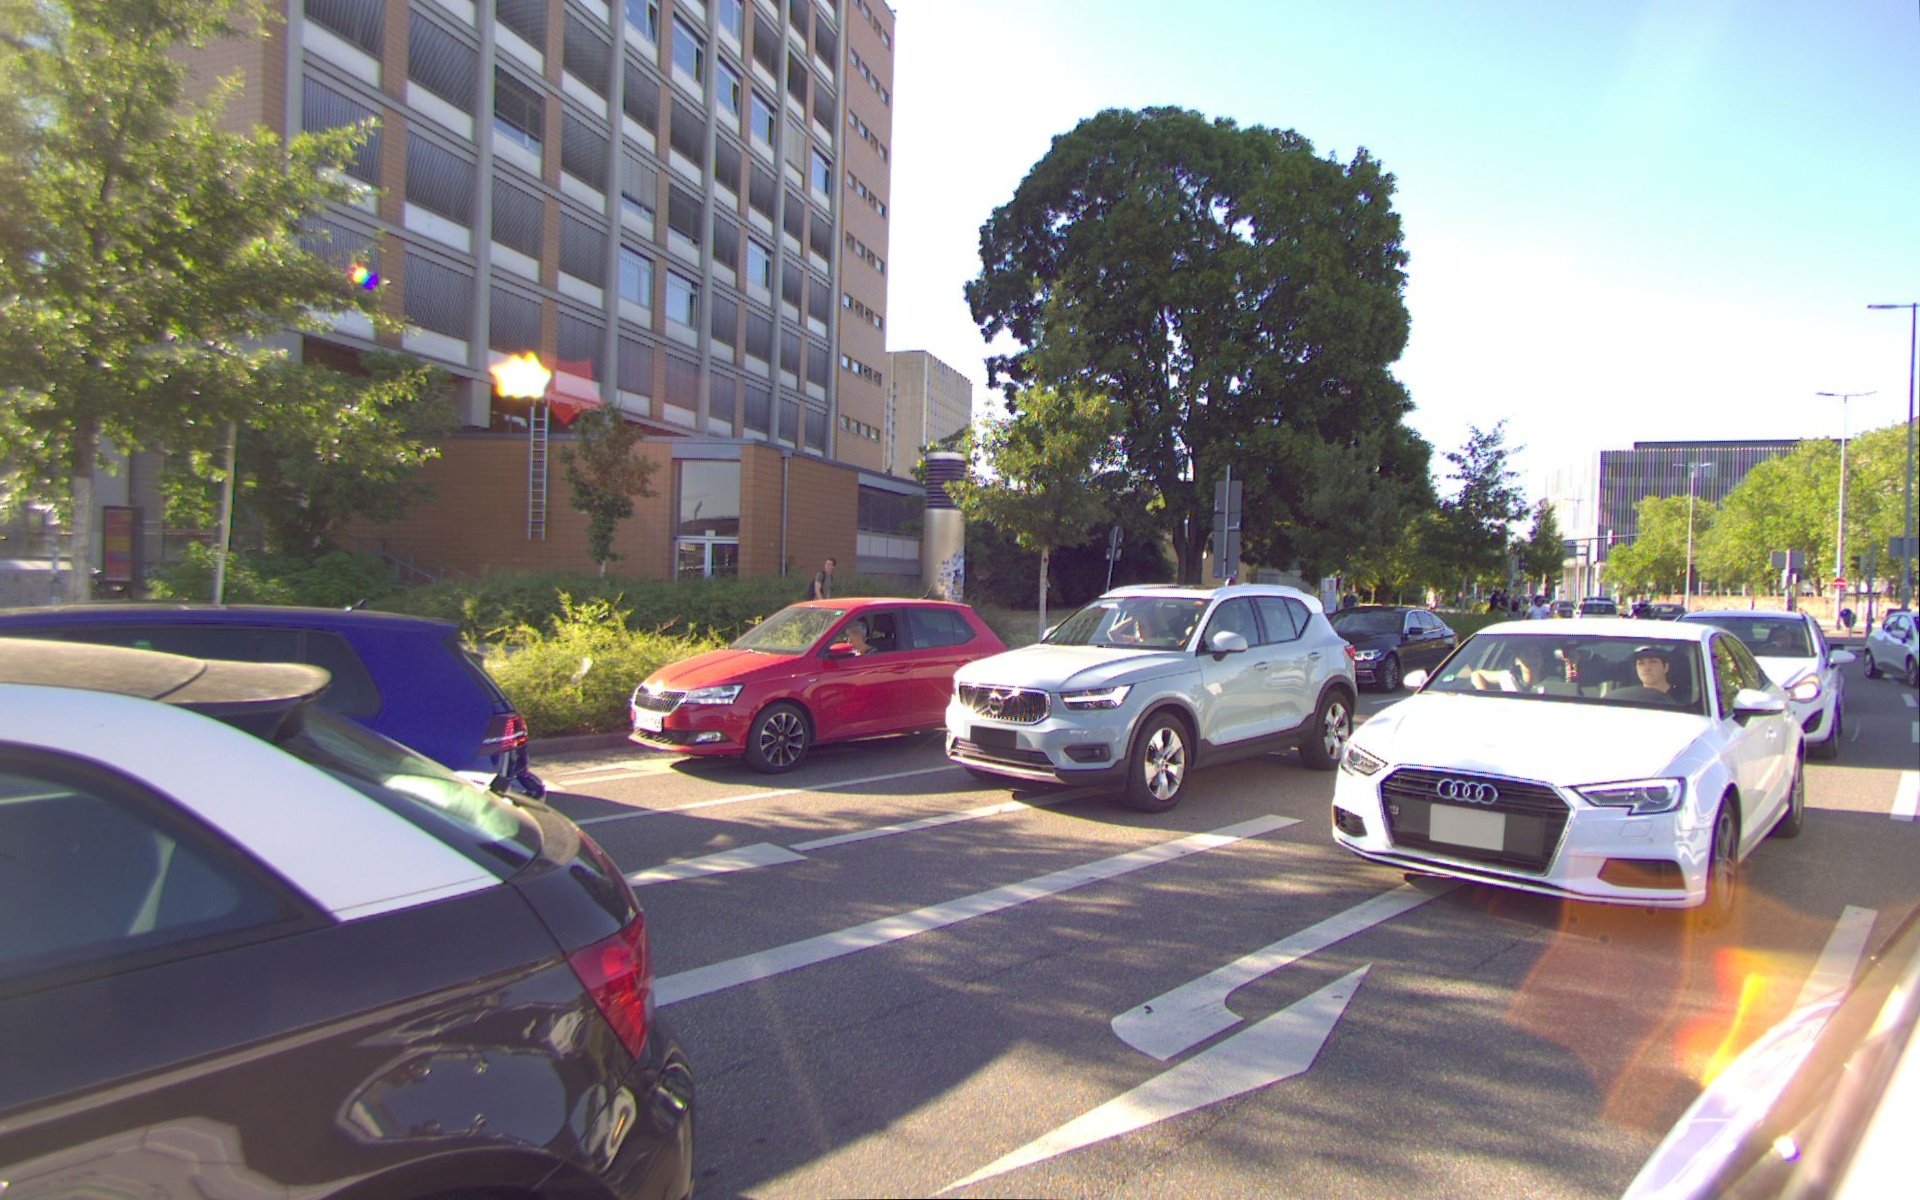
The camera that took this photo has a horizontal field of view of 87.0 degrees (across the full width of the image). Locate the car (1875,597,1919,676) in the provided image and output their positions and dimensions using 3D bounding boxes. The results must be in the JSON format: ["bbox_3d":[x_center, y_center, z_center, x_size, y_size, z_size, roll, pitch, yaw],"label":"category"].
[{"bbox_3d":[19.386,0.690,19.484,1.741,1.478,4.145,0,0,30],"label":"car"}]

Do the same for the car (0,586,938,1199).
[{"bbox_3d":[-2.049,0.701,1.270,3.930,1.422,1.626,-1,0,-41],"label":"car"}]

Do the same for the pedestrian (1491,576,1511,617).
[{"bbox_3d":[21.440,-0.146,40.086,0.593,1.615,0.586,0,0,41],"label":"pedestrian"}]

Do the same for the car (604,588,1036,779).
[{"bbox_3d":[-1.197,0.631,9.841,3.974,1.478,1.625,-1,0,-43],"label":"car"}]

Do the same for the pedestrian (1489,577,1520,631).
[{"bbox_3d":[21.084,0.154,39.178,0.891,2.039,0.870,0,0,39],"label":"pedestrian"}]

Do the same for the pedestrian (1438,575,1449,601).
[{"bbox_3d":[29.799,-0.742,62.364,0.543,1.627,0.598,0,0,30],"label":"pedestrian"}]

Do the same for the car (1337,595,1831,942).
[{"bbox_3d":[3.940,0.691,6.116,3.769,1.422,1.625,-1,0,-43],"label":"car"}]

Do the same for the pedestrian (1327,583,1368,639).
[{"bbox_3d":[12.438,0.334,32.485,1.005,1.742,0.873,0,0,39],"label":"pedestrian"}]

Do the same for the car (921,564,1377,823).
[{"bbox_3d":[1.769,0.570,8.456,4.153,1.641,1.625,-1,0,-43],"label":"car"}]

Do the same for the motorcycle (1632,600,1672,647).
[{"bbox_3d":[20.577,0.684,30.074,0.715,1.321,2.201,0,0,41],"label":"motorcycle"}]

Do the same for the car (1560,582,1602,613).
[{"bbox_3d":[36.696,-0.190,59.850,1.730,1.727,3.962,2,1,27],"label":"car"}]

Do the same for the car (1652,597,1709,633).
[{"bbox_3d":[34.692,0.671,48.800,1.731,1.564,3.960,2,1,29],"label":"car"}]

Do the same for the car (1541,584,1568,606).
[{"bbox_3d":[49.431,-0.409,84.176,1.731,1.727,3.959,2,1,29],"label":"car"}]

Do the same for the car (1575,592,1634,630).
[{"bbox_3d":[28.438,0.448,44.615,1.738,1.544,3.943,2,2,39],"label":"car"}]

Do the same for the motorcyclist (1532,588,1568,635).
[{"bbox_3d":[16.887,0.327,28.956,0.716,1.321,0.723,0,0,45],"label":"motorcyclist"}]

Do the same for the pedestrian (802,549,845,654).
[{"bbox_3d":[-2.517,0.023,18.602,0.681,1.910,0.465,0,0,-24],"label":"pedestrian"}]

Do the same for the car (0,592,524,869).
[{"bbox_3d":[-5.227,0.672,6.163,4.433,1.422,1.726,-1,0,-41],"label":"car"}]

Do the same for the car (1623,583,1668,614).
[{"bbox_3d":[41.614,-0.117,61.510,1.730,1.727,3.962,2,1,27],"label":"car"}]

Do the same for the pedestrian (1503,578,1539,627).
[{"bbox_3d":[23.810,0.103,42.962,1.137,2.039,1.268,0,0,39],"label":"pedestrian"}]

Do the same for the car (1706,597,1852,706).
[{"bbox_3d":[13.107,0.712,16.116,1.622,1.478,3.981,0,0,42],"label":"car"}]

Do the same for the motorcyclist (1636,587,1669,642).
[{"bbox_3d":[20.450,0.412,29.880,0.708,1.610,0.680,0,0,42],"label":"motorcyclist"}]

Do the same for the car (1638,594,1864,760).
[{"bbox_3d":[8.868,0.690,11.221,1.623,1.478,3.979,0,1,43],"label":"car"}]

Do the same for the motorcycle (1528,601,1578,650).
[{"bbox_3d":[17.086,0.705,29.146,0.716,1.321,2.199,0,0,44],"label":"motorcycle"}]

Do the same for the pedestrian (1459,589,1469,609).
[{"bbox_3d":[53.163,-0.131,106.803,0.828,2.039,1.061,0,0,19],"label":"pedestrian"}]

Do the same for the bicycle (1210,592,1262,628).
[{"bbox_3d":[8.153,0.285,29.828,0.657,0.975,2.005,2,2,41],"label":"bicycle"}]

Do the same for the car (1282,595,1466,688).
[{"bbox_3d":[7.619,0.657,18.432,1.750,1.478,4.123,0,1,43],"label":"car"}]

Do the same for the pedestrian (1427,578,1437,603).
[{"bbox_3d":[29.254,-0.614,62.740,0.543,1.549,0.598,0,0,30],"label":"pedestrian"}]

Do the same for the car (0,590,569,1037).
[{"bbox_3d":[-3.719,0.686,3.760,3.930,1.422,1.626,-1,0,-41],"label":"car"}]

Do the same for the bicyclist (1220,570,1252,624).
[{"bbox_3d":[8.126,-0.091,29.780,0.615,1.580,0.858,0,0,41],"label":"bicyclist"}]
